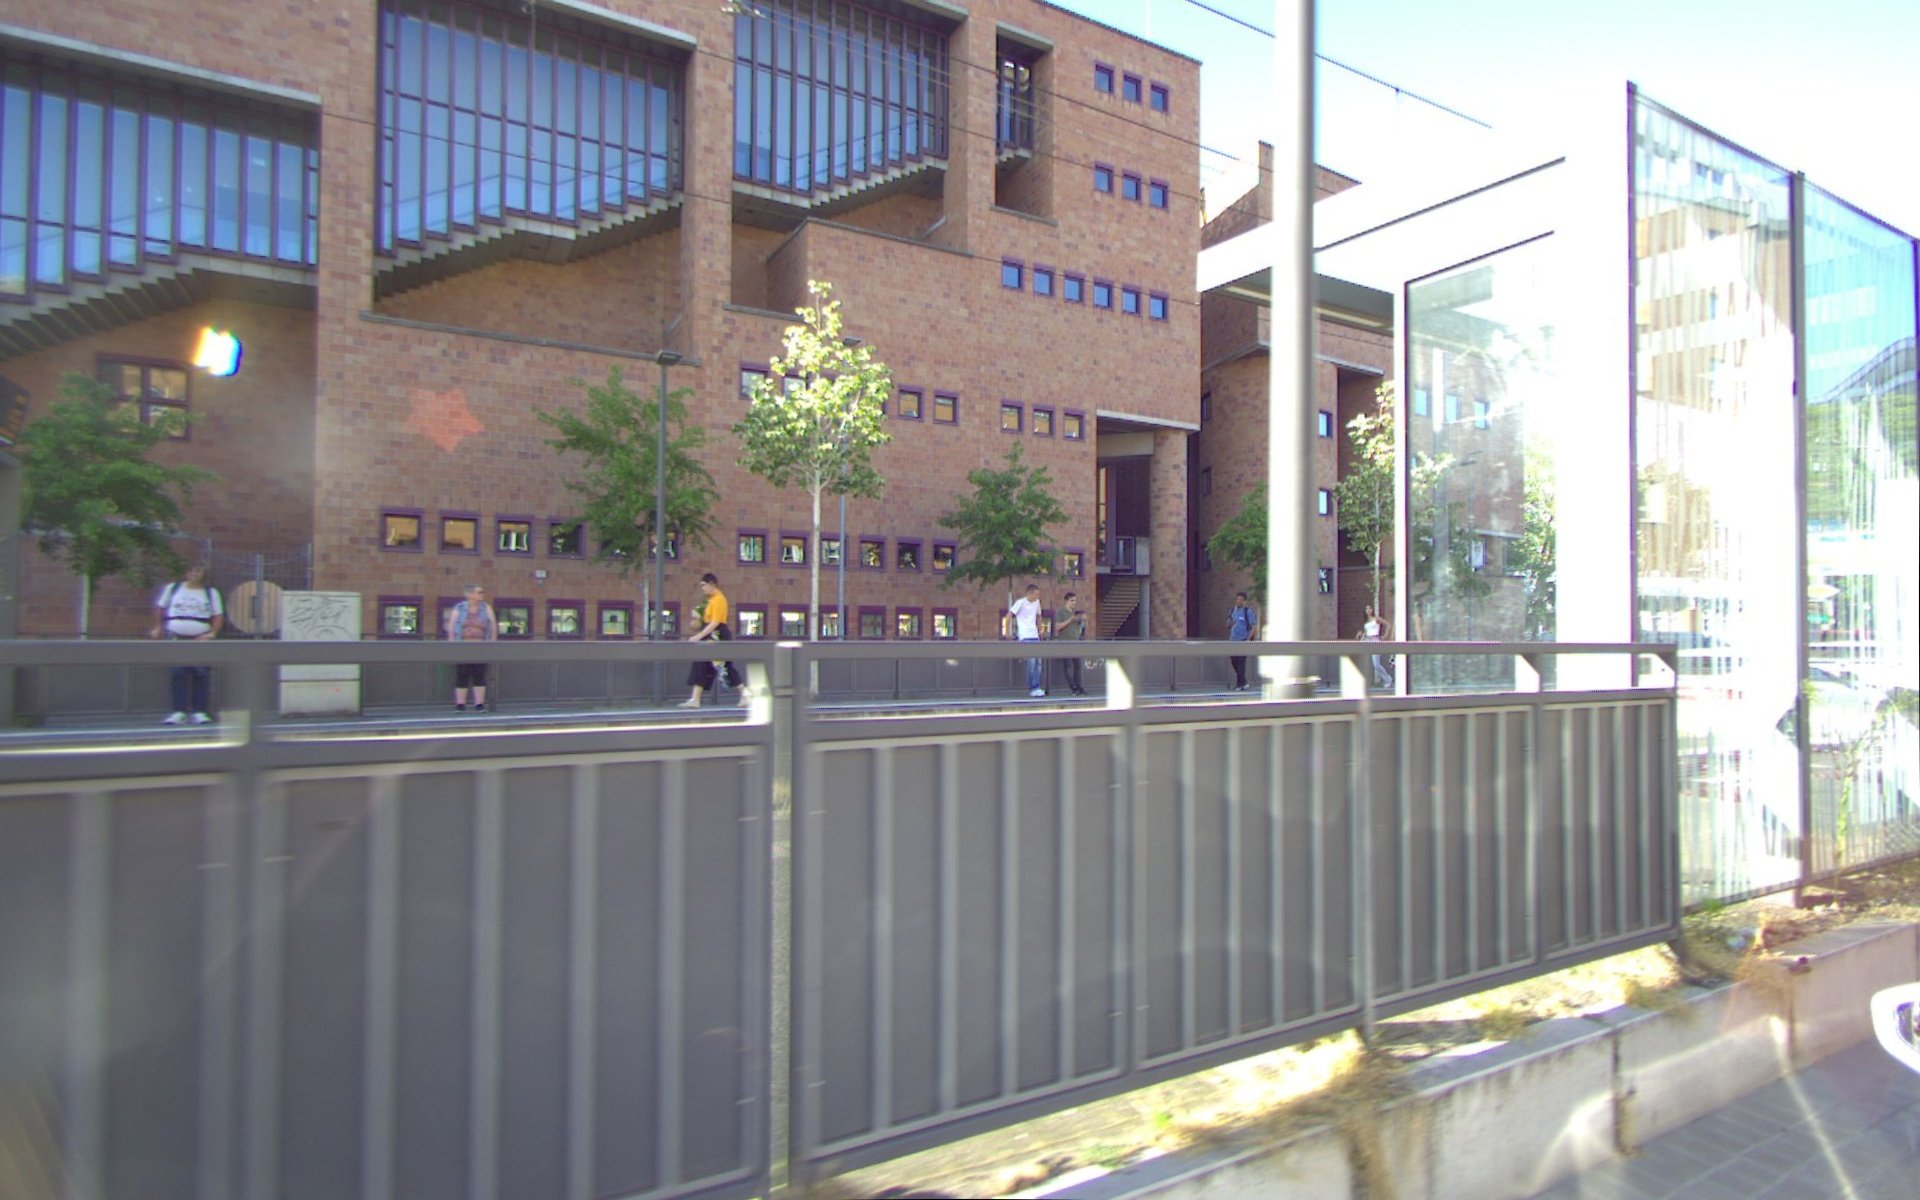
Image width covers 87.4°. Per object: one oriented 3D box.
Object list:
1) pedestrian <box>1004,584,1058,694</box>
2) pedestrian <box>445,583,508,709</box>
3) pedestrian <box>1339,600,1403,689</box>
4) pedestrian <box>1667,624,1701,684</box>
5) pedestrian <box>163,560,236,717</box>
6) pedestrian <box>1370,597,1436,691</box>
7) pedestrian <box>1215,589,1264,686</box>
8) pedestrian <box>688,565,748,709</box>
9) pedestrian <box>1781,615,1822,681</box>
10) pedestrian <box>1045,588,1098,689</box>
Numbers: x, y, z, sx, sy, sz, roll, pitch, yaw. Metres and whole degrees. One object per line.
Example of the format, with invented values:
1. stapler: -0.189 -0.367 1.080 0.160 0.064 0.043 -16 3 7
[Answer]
1. pedestrian: 1.155 0.626 16.389 0.608 1.737 0.620 1 0 -29
2. pedestrian: -5.829 0.539 12.104 0.634 1.479 0.537 1 0 -29
3. pedestrian: 7.741 0.830 18.914 0.934 1.629 0.637 1 0 -29
4. pedestrian: 20.080 1.478 27.865 0.608 1.630 0.561 1 0 -29
5. pedestrian: -8.174 0.408 10.805 0.546 1.643 0.376 1 1 -29
6. pedestrian: 8.081 0.785 18.330 0.934 1.665 0.637 1 0 -29
7. pedestrian: 5.159 0.684 18.541 0.608 1.761 0.579 1 0 -29
8. pedestrian: -2.979 0.443 12.355 0.534 1.718 0.637 1 0 -29
9. pedestrian: 23.908 1.347 28.547 0.886 1.841 0.611 1 0 -29
10. pedestrian: 1.862 0.634 16.776 0.608 1.633 0.620 1 0 -29
